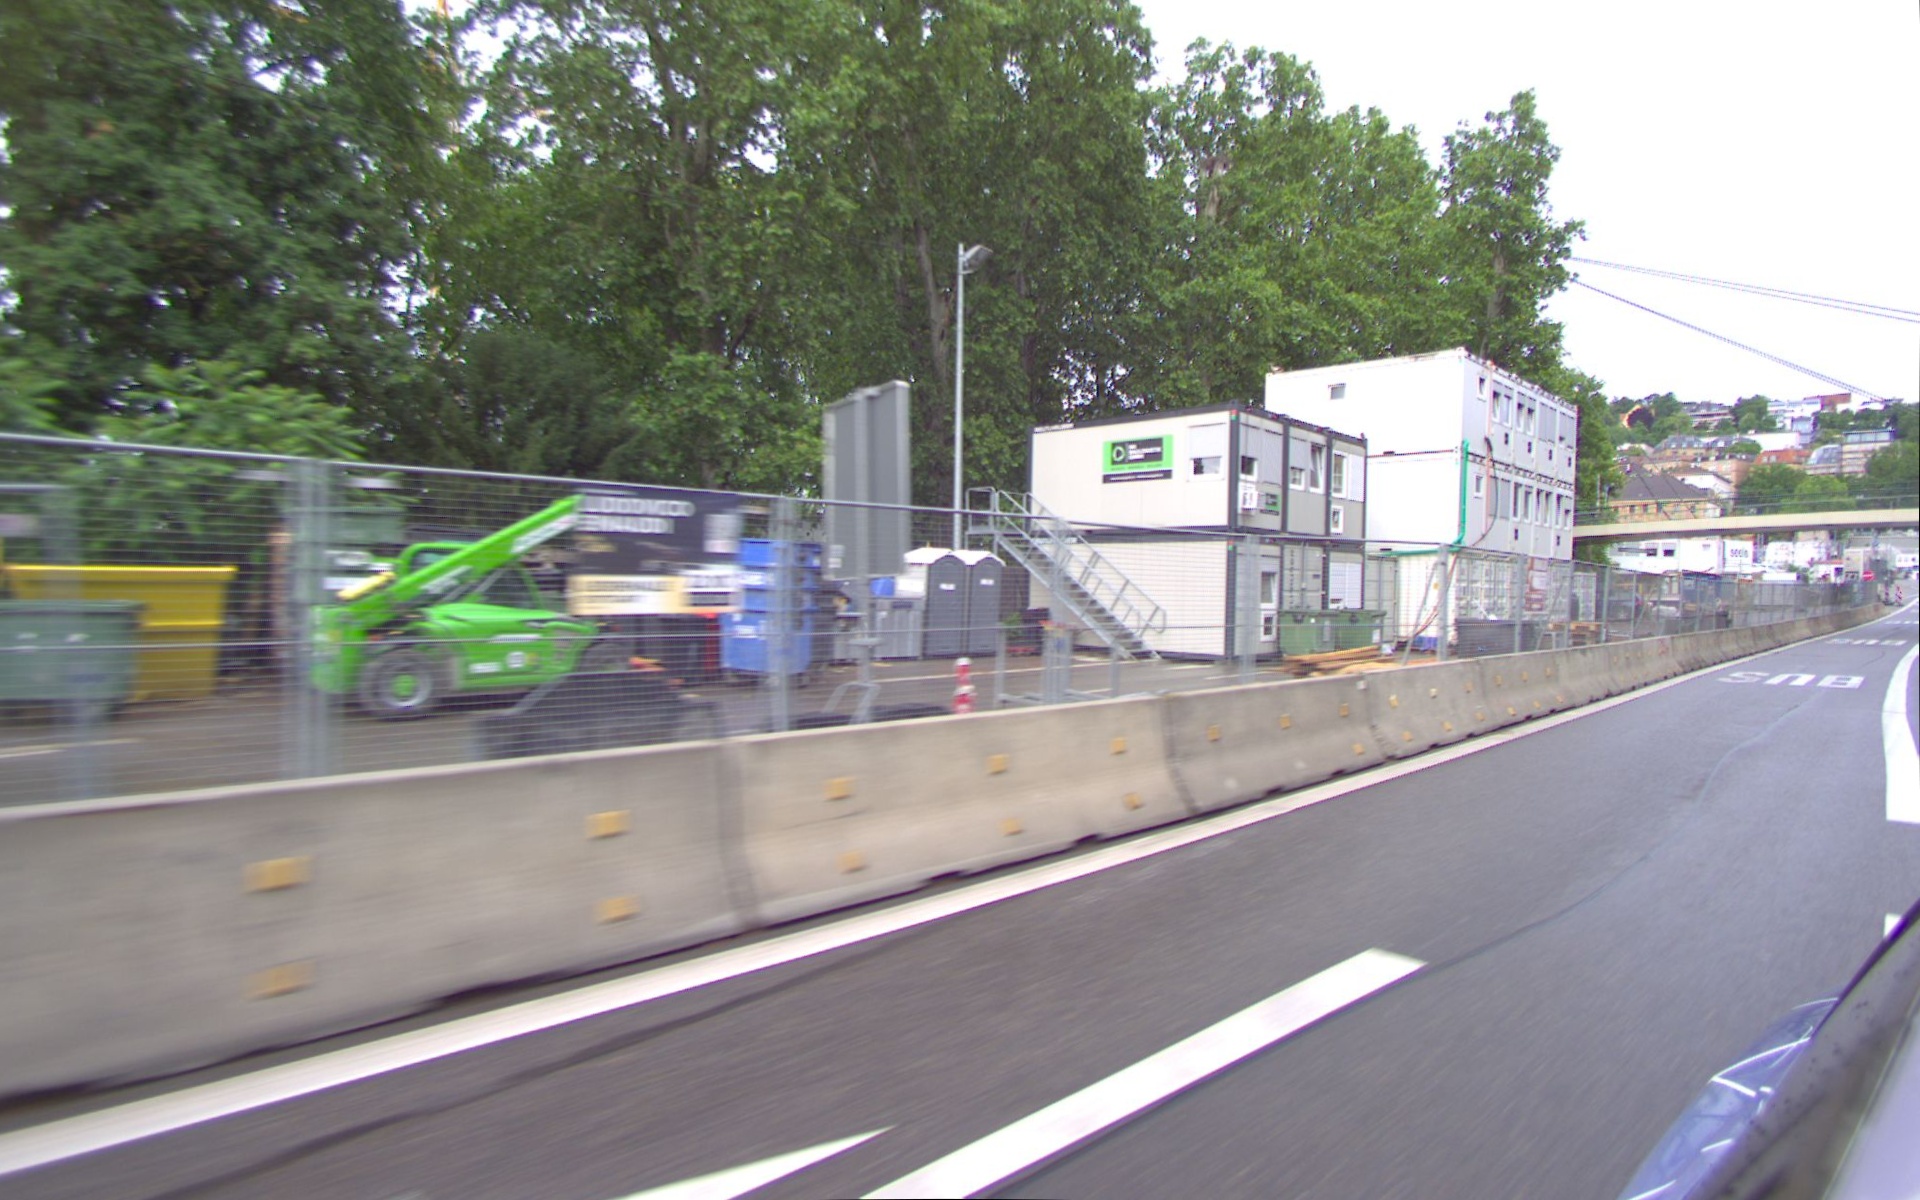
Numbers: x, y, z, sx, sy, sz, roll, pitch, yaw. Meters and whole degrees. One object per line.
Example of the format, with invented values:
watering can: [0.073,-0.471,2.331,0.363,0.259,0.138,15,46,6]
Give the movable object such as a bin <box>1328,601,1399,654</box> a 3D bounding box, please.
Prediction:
movable object such as a bin: [10.153,0.669,25.473,1.220,1.136,1.248,-3,6,-45]

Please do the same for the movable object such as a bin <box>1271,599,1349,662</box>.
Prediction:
movable object such as a bin: [8.027,0.677,23.202,1.220,1.251,1.248,-3,6,-45]

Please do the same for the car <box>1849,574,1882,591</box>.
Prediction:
car: [86.478,-1.681,96.664,4.337,1.459,1.836,-3,2,-41]

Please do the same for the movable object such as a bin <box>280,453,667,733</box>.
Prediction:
movable object such as a bin: [-5.768,-0.063,12.354,1.805,2.845,3.809,1,0,40]

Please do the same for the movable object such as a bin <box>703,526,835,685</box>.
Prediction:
movable object such as a bin: [-2.839,0.062,15.119,1.444,2.231,1.255,2,0,22]

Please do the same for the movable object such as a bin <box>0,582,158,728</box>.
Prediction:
movable object such as a bin: [-9.024,0.518,10.158,1.239,1.361,1.182,2,0,-25]

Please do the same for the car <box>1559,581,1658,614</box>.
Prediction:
car: [36.710,-0.187,57.332,4.495,1.749,1.970,2,2,42]

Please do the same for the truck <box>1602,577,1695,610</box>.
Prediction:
truck: [47.902,-0.476,70.511,5.147,2.038,2.375,2,4,40]
